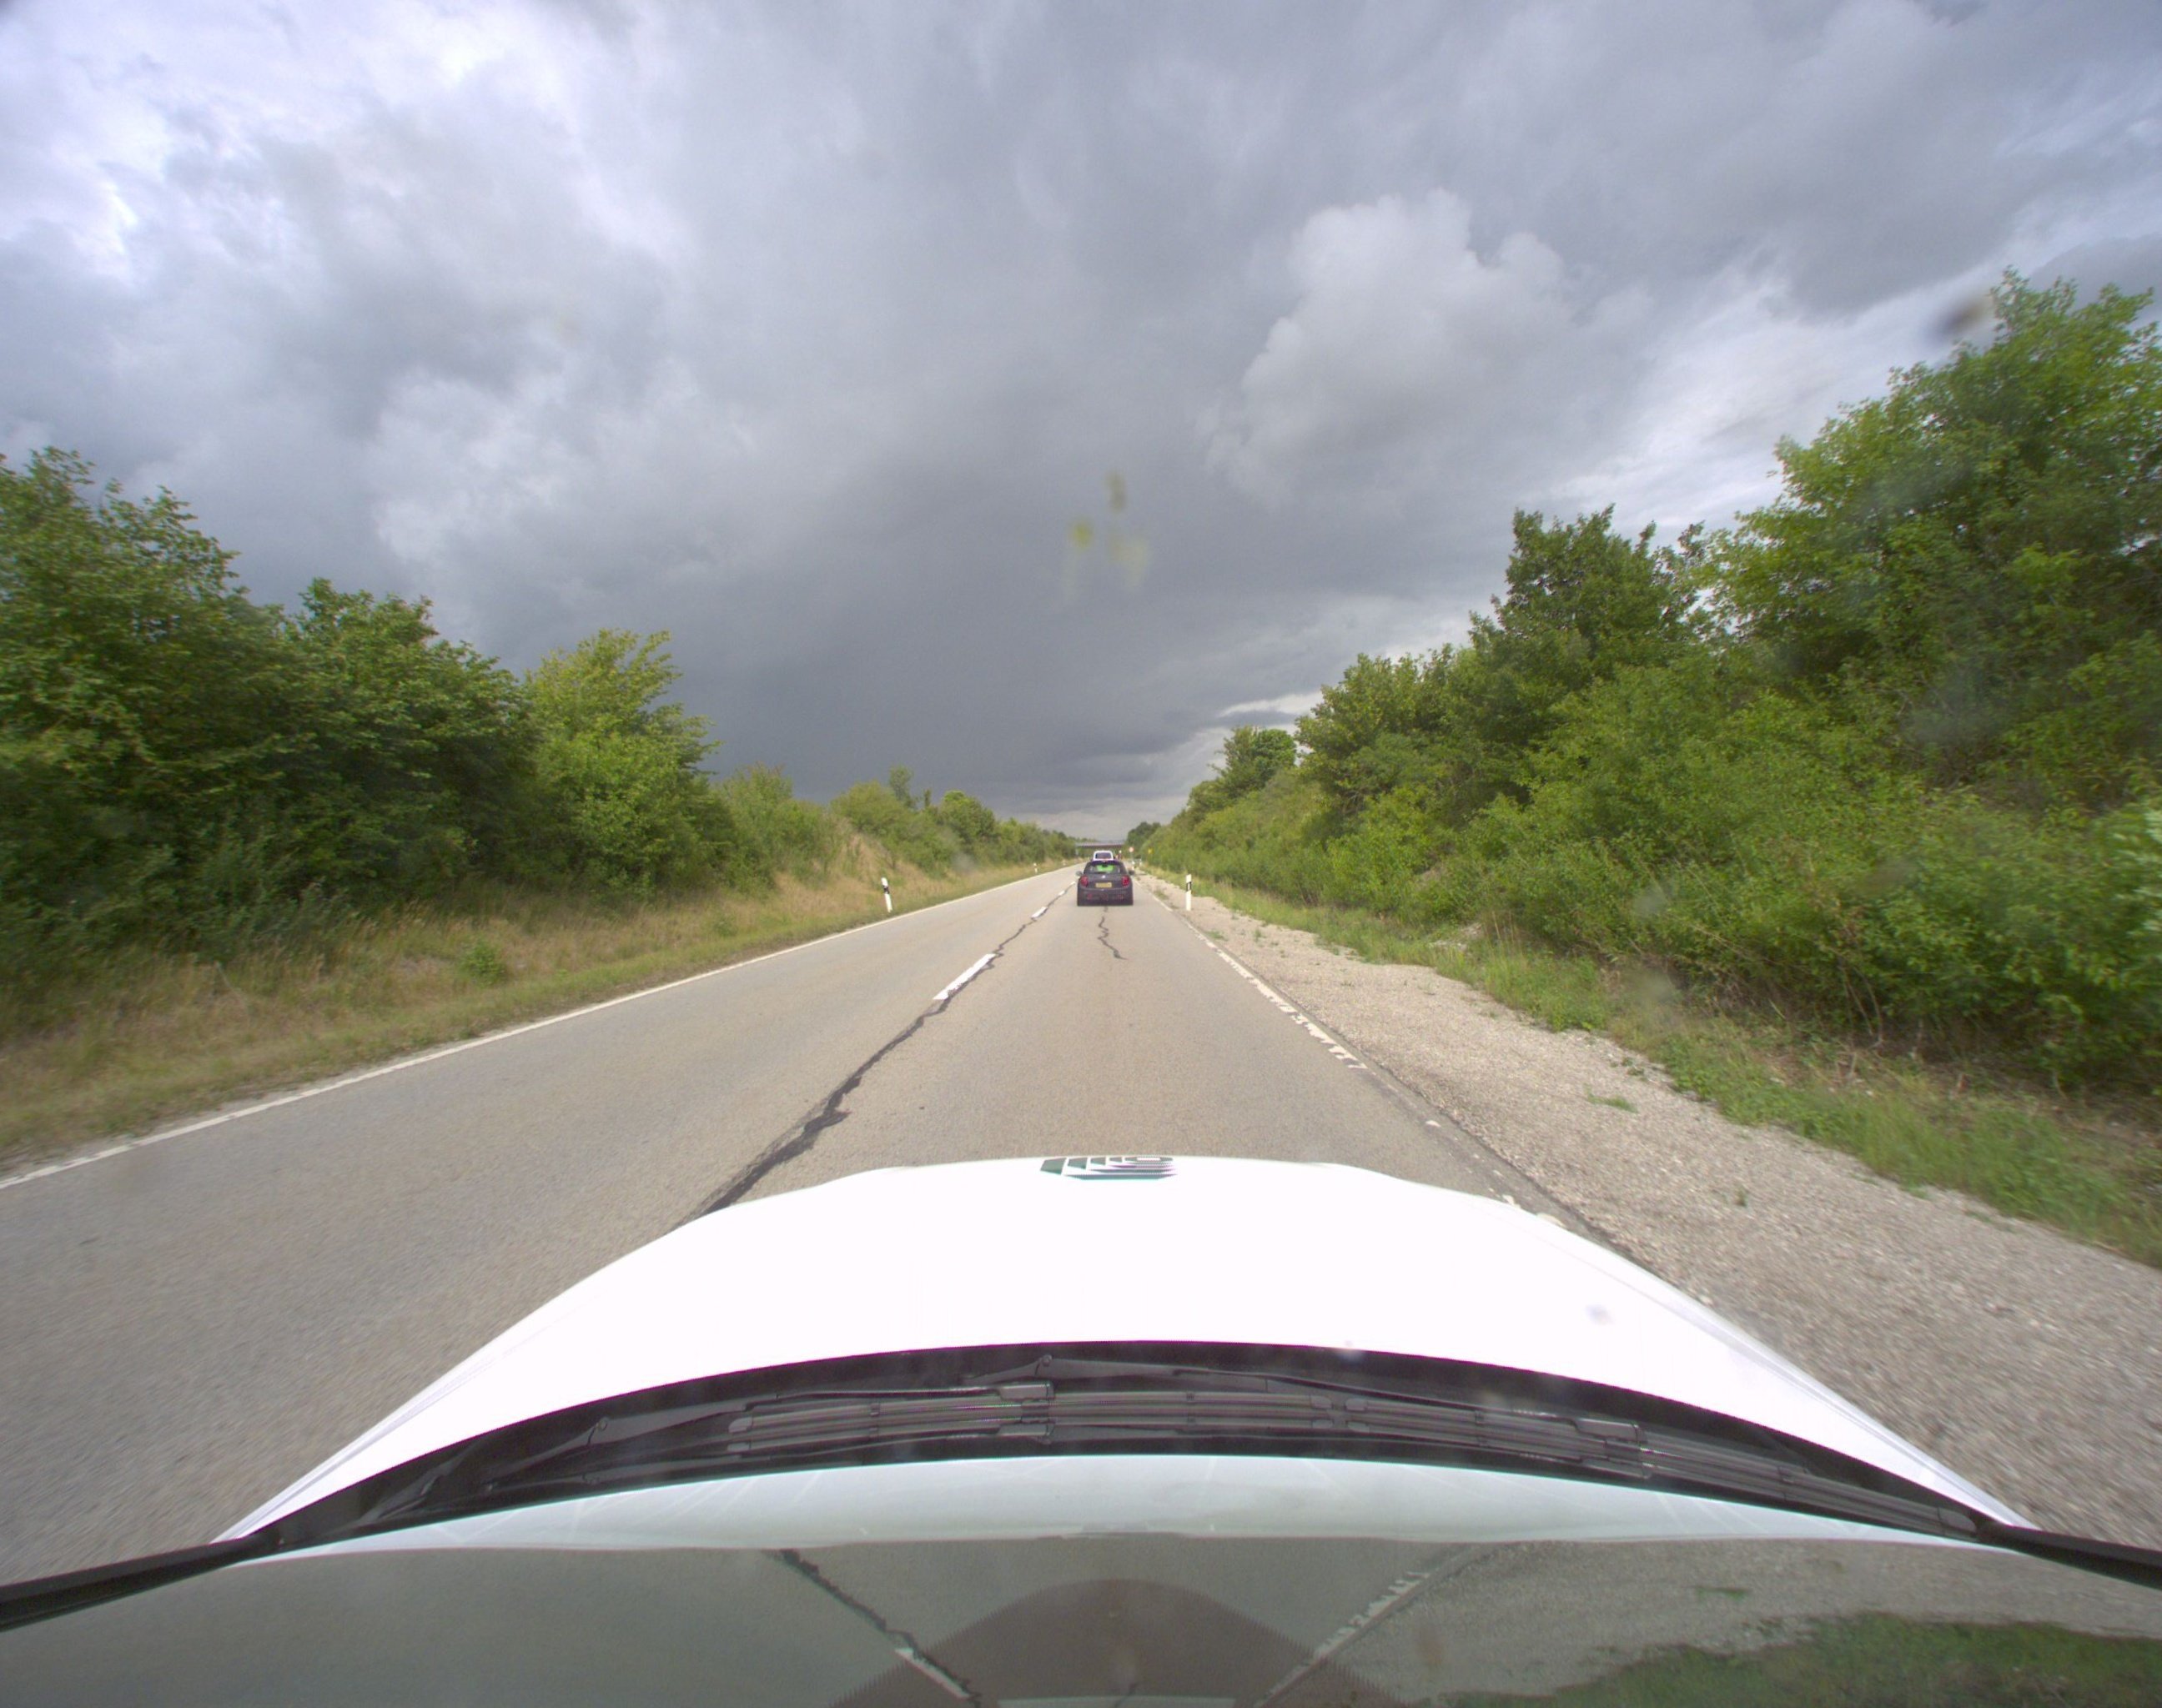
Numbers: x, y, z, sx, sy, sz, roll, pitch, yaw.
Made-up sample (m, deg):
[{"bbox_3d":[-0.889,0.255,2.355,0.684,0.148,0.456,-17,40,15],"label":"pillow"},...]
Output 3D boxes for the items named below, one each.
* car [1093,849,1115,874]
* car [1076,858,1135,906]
[{"bbox_3d":[2.018,0.646,71.119,1.813,2.054,4.001,-1,0,1],"label":"car"},{"bbox_3d":[0.782,0.839,26.441,1.750,1.427,4.001,-1,0,1],"label":"car"}]
